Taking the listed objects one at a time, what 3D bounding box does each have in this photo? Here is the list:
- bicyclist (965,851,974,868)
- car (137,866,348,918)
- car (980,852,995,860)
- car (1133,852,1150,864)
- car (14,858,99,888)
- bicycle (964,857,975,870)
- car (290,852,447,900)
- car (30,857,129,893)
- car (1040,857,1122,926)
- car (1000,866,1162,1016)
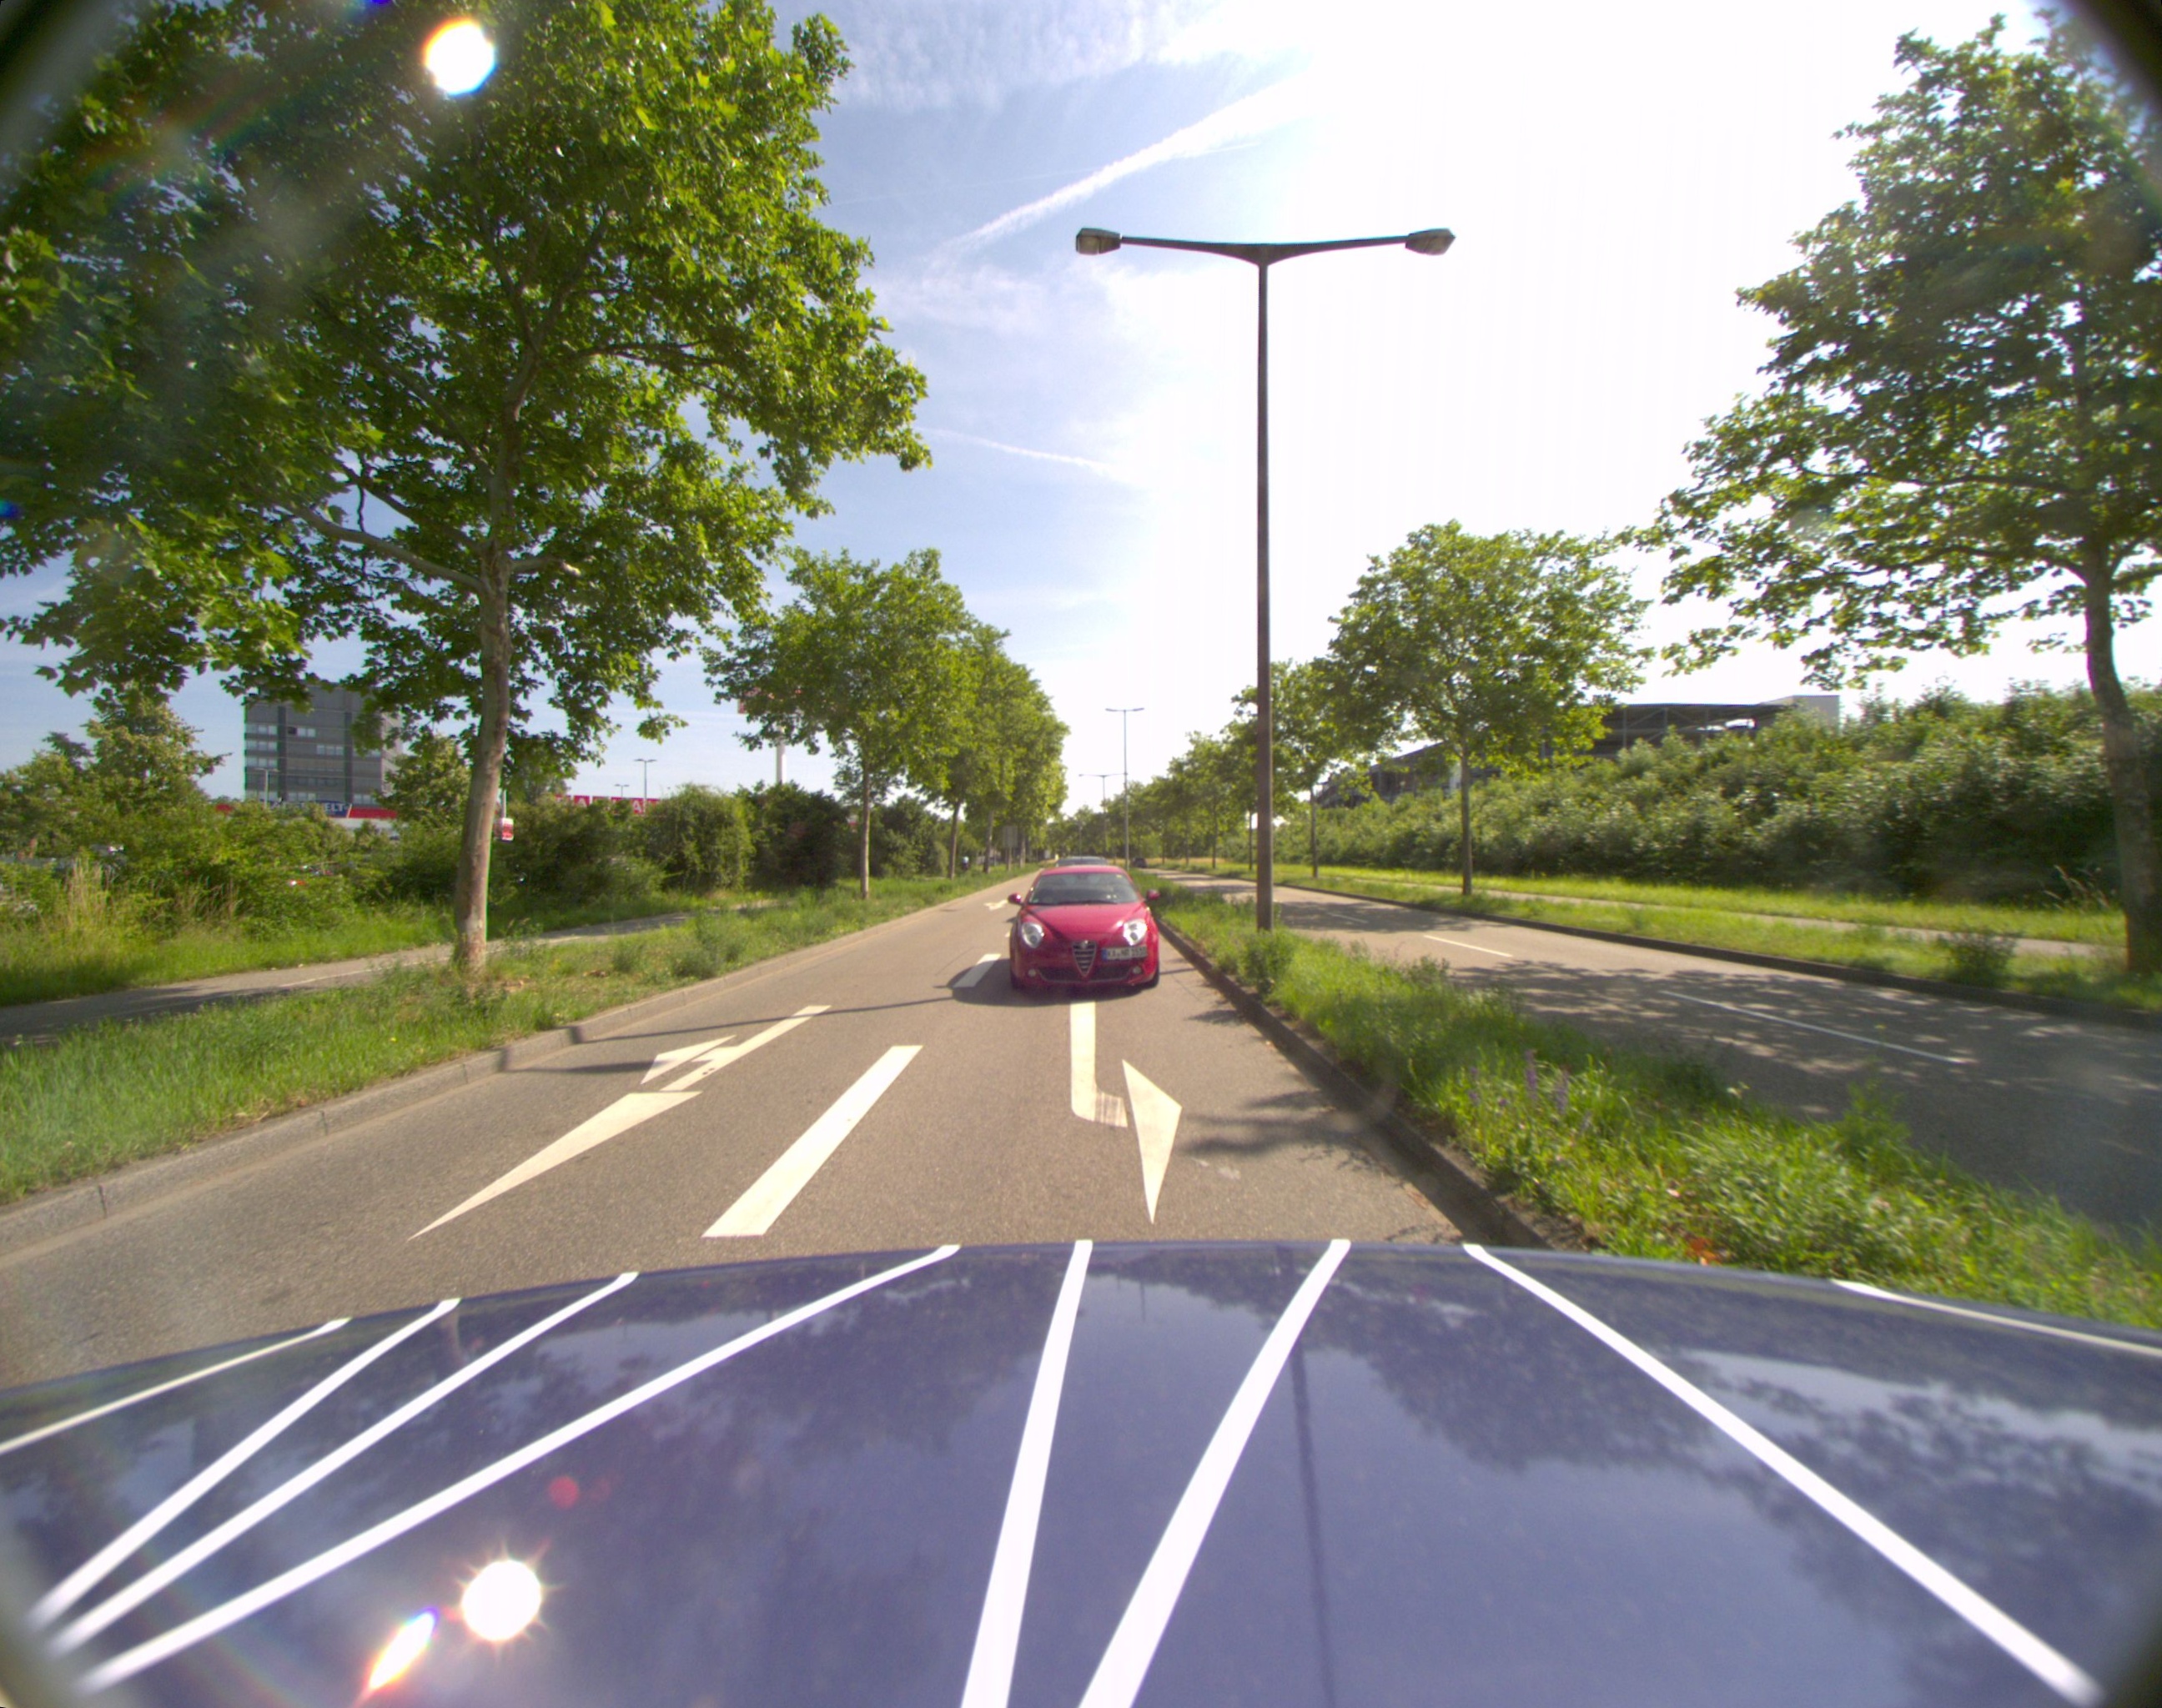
[{"bbox_3d":[-10.671,0.521,72.688,0.687,1.622,1.002,0,1,1],"label":"bicyclist"},{"bbox_3d":[-22.707,0.998,20.705,3.563,1.292,1.766,0,1,-6],"label":"car"},{"bbox_3d":[-23.164,0.549,188.476,2.003,2.002,4.687,0,1,-30],"label":"car"},{"bbox_3d":[7.686,0.476,97.171,1.868,1.459,3.937,-1,1,0],"label":"car"},{"bbox_3d":[-57.893,1.036,43.039,1.693,1.565,3.989,0,1,-35],"label":"car"},{"bbox_3d":[-10.670,0.865,72.637,0.687,1.230,1.934,0,0,1],"label":"bicycle"},{"bbox_3d":[-24.999,0.715,26.866,3.870,1.576,1.844,0,1,-38],"label":"car"},{"bbox_3d":[-47.654,0.960,36.258,1.693,1.565,3.989,0,1,-35],"label":"car"},{"bbox_3d":[0.027,0.883,19.576,1.874,1.536,4.081,-1,0,1],"label":"car"},{"bbox_3d":[0.023,0.946,9.921,1.658,1.430,3.908,-2,0,1],"label":"car"}]
